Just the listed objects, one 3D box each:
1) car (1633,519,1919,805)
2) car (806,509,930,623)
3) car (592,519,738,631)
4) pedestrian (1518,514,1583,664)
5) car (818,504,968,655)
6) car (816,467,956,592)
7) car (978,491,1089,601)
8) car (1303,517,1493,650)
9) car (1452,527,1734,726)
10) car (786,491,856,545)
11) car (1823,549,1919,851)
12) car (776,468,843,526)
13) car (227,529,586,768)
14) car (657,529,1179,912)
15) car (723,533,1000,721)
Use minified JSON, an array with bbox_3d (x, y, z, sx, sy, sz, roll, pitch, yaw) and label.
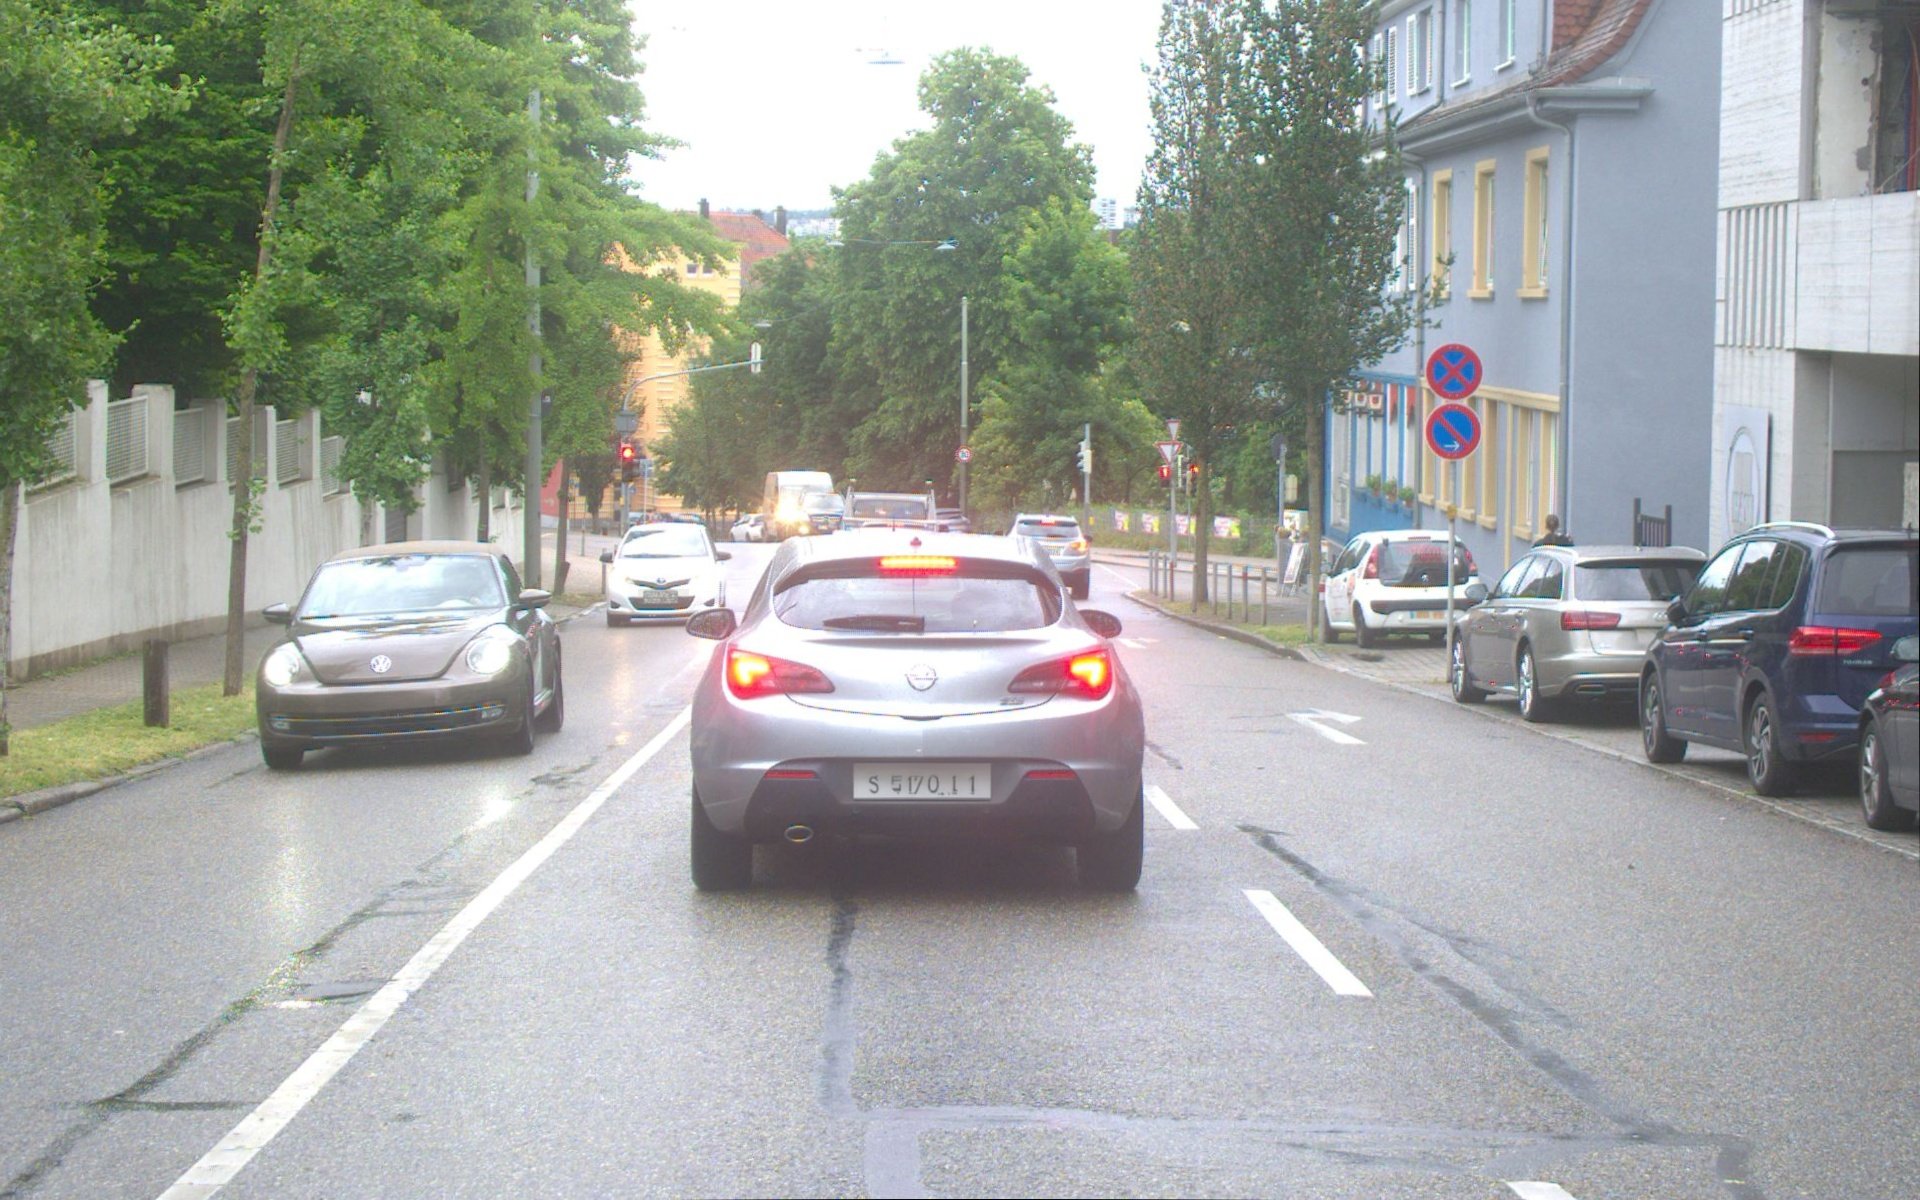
[{"bbox_3d":[5.501,0.309,21.718,1.685,1.565,4.001,0,2,0],"label":"car"},{"bbox_3d":[-1.497,-0.577,54.702,1.754,1.645,4.001,3,1,-3],"label":"car"},{"bbox_3d":[-4.424,-0.412,52.041,1.822,1.474,3.864,-3,2,0],"label":"car"},{"bbox_3d":[7.108,-0.140,41.390,0.645,1.778,0.542,1,2,0],"label":"pedestrian"},{"bbox_3d":[-0.943,-0.311,46.113,1.768,1.775,3.977,3,2,-3],"label":"car"},{"bbox_3d":[-1.333,-1.325,62.394,2.334,2.029,4.736,4,2,-1],"label":"car"},{"bbox_3d":[1.480,-1.148,71.123,1.993,2.029,4.736,4,2,-1],"label":"car"},{"bbox_3d":[5.565,-0.253,44.156,1.906,1.565,4.001,0,2,0],"label":"car"},{"bbox_3d":[5.304,0.162,29.280,1.584,1.488,4.290,0,2,0],"label":"car"},{"bbox_3d":[-4.367,-2.608,108.594,1.993,1.530,4.309,4,2,-1],"label":"car"},{"bbox_3d":[5.628,0.524,17.010,1.681,1.459,4.001,0,2,0],"label":"car"},{"bbox_3d":[-5.030,-3.468,115.361,1.993,1.778,4.001,4,2,-1],"label":"car"},{"bbox_3d":[-3.815,0.275,24.381,1.850,1.464,4.088,-3,1,0],"label":"car"},{"bbox_3d":[-0.324,0.428,15.063,1.945,1.427,3.885,1,1,-6],"label":"car"},{"bbox_3d":[-0.846,0.164,26.936,1.797,1.318,4.001,2,1,-7],"label":"car"}]
